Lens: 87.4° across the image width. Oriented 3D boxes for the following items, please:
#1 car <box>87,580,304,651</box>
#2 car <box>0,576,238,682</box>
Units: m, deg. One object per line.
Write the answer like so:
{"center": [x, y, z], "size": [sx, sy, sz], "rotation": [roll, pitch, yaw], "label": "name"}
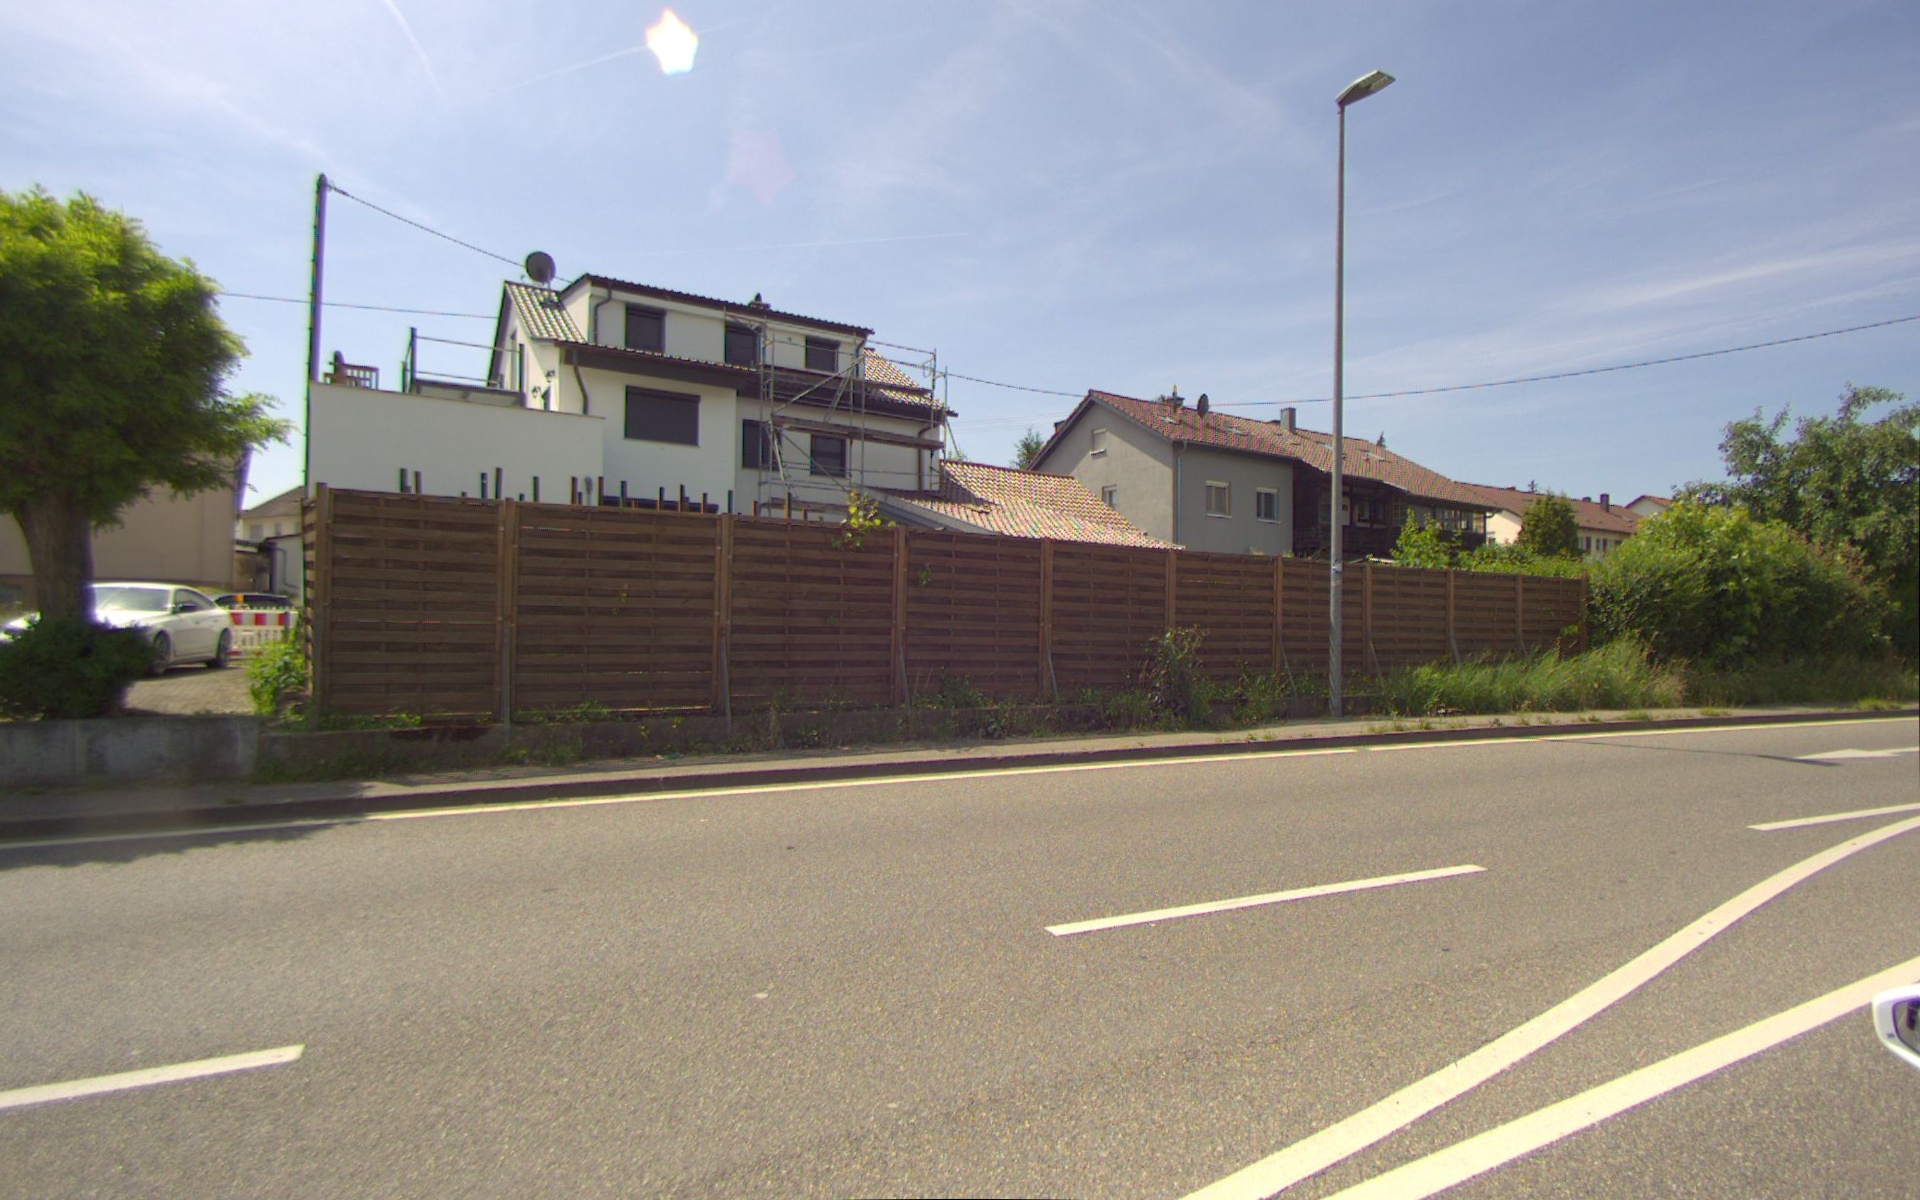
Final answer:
{"center": [-18.569, 0.341, 24.651], "size": [1.904, 1.538, 4.002], "rotation": [1, 0, 9], "label": "car"}
{"center": [-13.484, 0.445, 16.205], "size": [1.854, 1.459, 3.983], "rotation": [2, -1, -19], "label": "car"}
